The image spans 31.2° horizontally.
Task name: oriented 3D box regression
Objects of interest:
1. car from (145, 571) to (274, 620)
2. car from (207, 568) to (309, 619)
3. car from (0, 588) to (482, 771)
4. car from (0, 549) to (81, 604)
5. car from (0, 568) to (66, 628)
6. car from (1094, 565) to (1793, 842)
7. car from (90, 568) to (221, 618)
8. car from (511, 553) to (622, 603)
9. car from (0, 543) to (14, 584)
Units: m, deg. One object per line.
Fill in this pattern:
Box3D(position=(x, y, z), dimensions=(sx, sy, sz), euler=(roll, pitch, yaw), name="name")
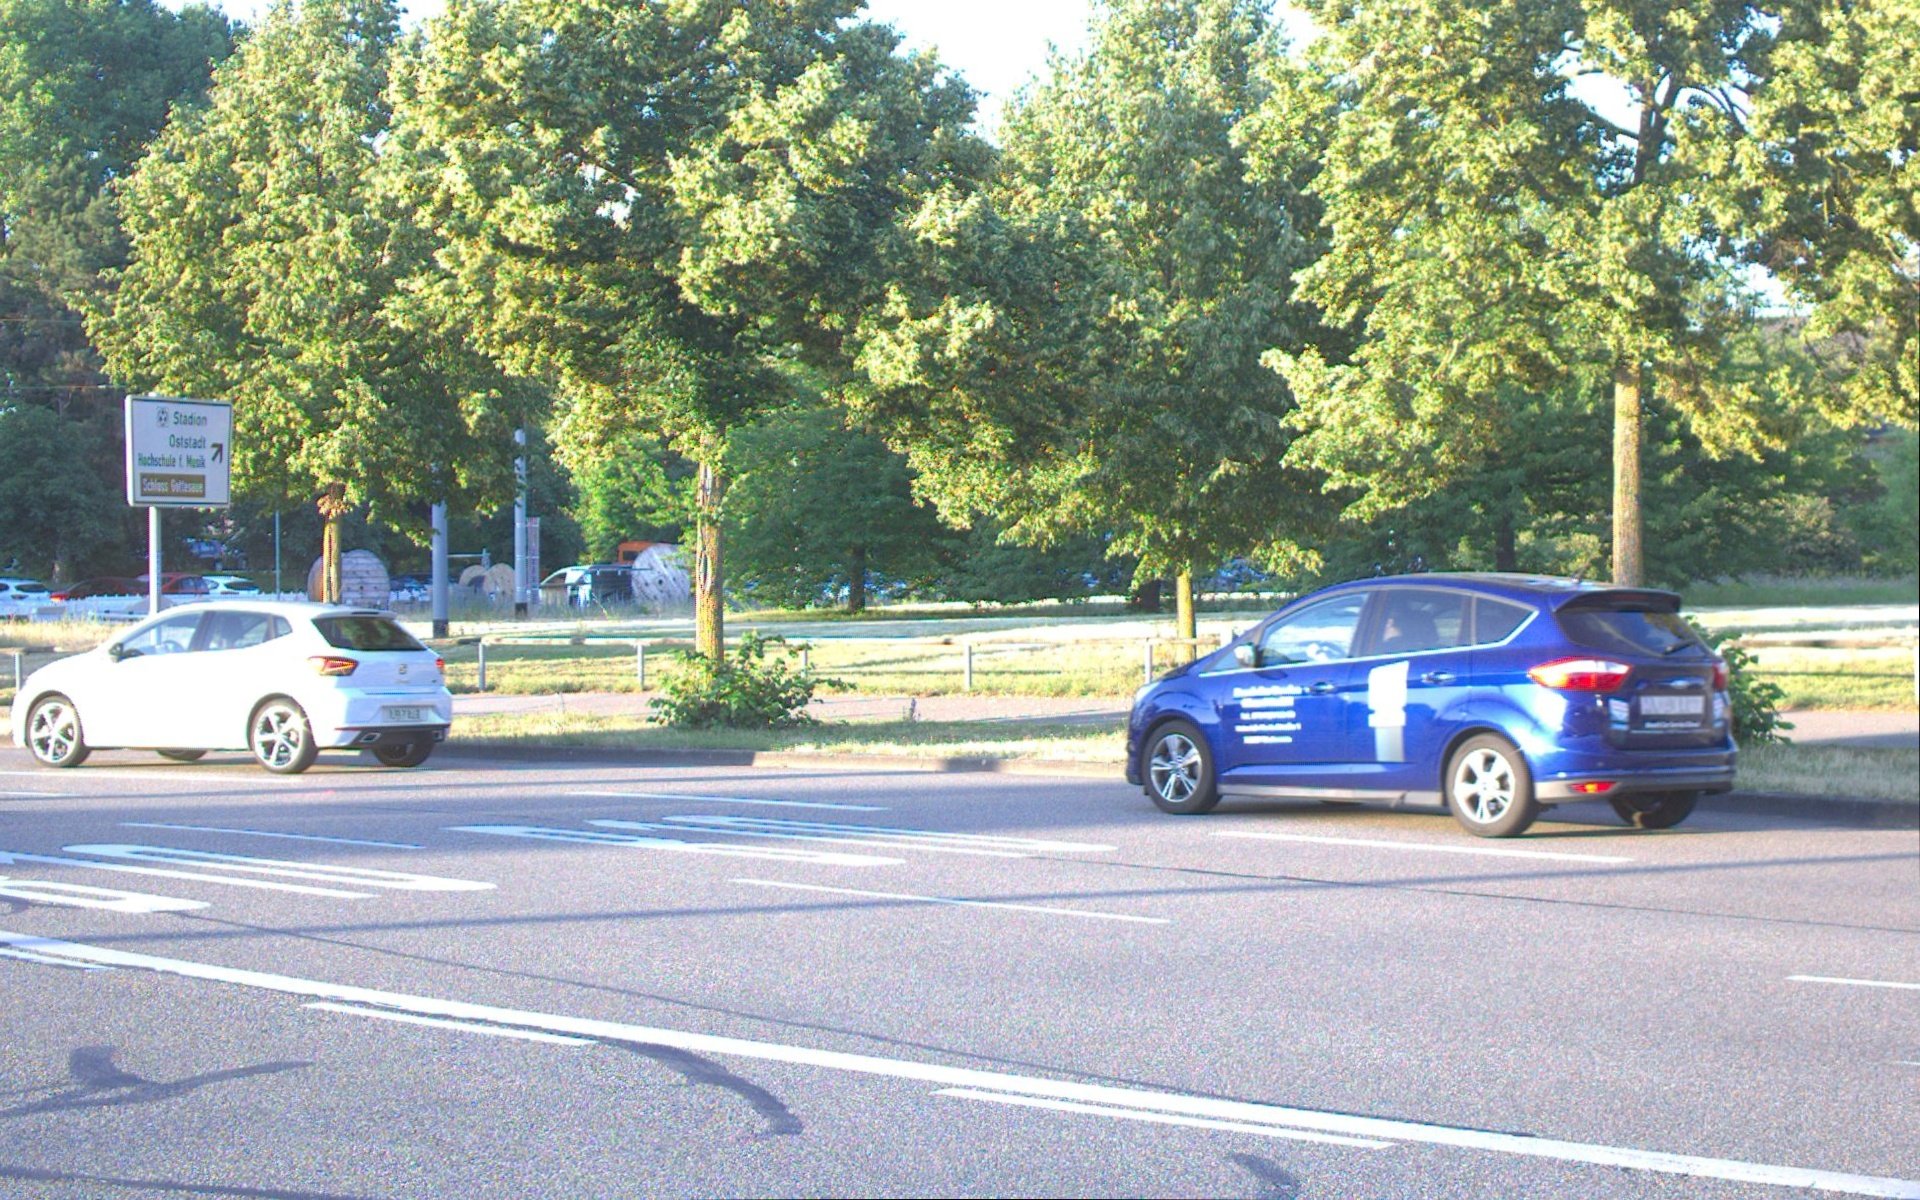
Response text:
Box3D(position=(-25.293, -0.177, 115.778), dimensions=(3.994, 1.598, 1.996), euler=(0, 1, 33), name="car")
Box3D(position=(-26.286, -0.268, 128.660), dimensions=(1.994, 1.746, 4.597), euler=(-1, 2, -37), name="car")
Box3D(position=(-6.276, 0.639, 29.625), dimensions=(3.965, 1.449, 1.865), euler=(0, 1, 30), name="car")
Box3D(position=(-34.639, -0.860, 125.839), dimensions=(4.582, 2.007, 2.001), euler=(-1, 1, -8), name="car")
Box3D(position=(-33.068, -0.064, 117.632), dimensions=(4.582, 2.007, 2.001), euler=(-1, 1, -8), name="car")
Box3D(position=(3.027, 0.585, 22.152), dimensions=(1.910, 1.578, 4.178), euler=(0, 1, -43), name="car")
Box3D(position=(-26.698, -0.233, 114.049), dimensions=(3.994, 1.598, 1.996), euler=(0, 1, 33), name="car")
Box3D(position=(-13.152, -0.747, 114.829), dimensions=(1.734, 1.612, 3.998), euler=(-1, 1, -41), name="car")
Box3D(position=(-42.316, -1.541, 145.329), dimensions=(3.988, 1.700, 2.000), euler=(0, 1, 7), name="car")
